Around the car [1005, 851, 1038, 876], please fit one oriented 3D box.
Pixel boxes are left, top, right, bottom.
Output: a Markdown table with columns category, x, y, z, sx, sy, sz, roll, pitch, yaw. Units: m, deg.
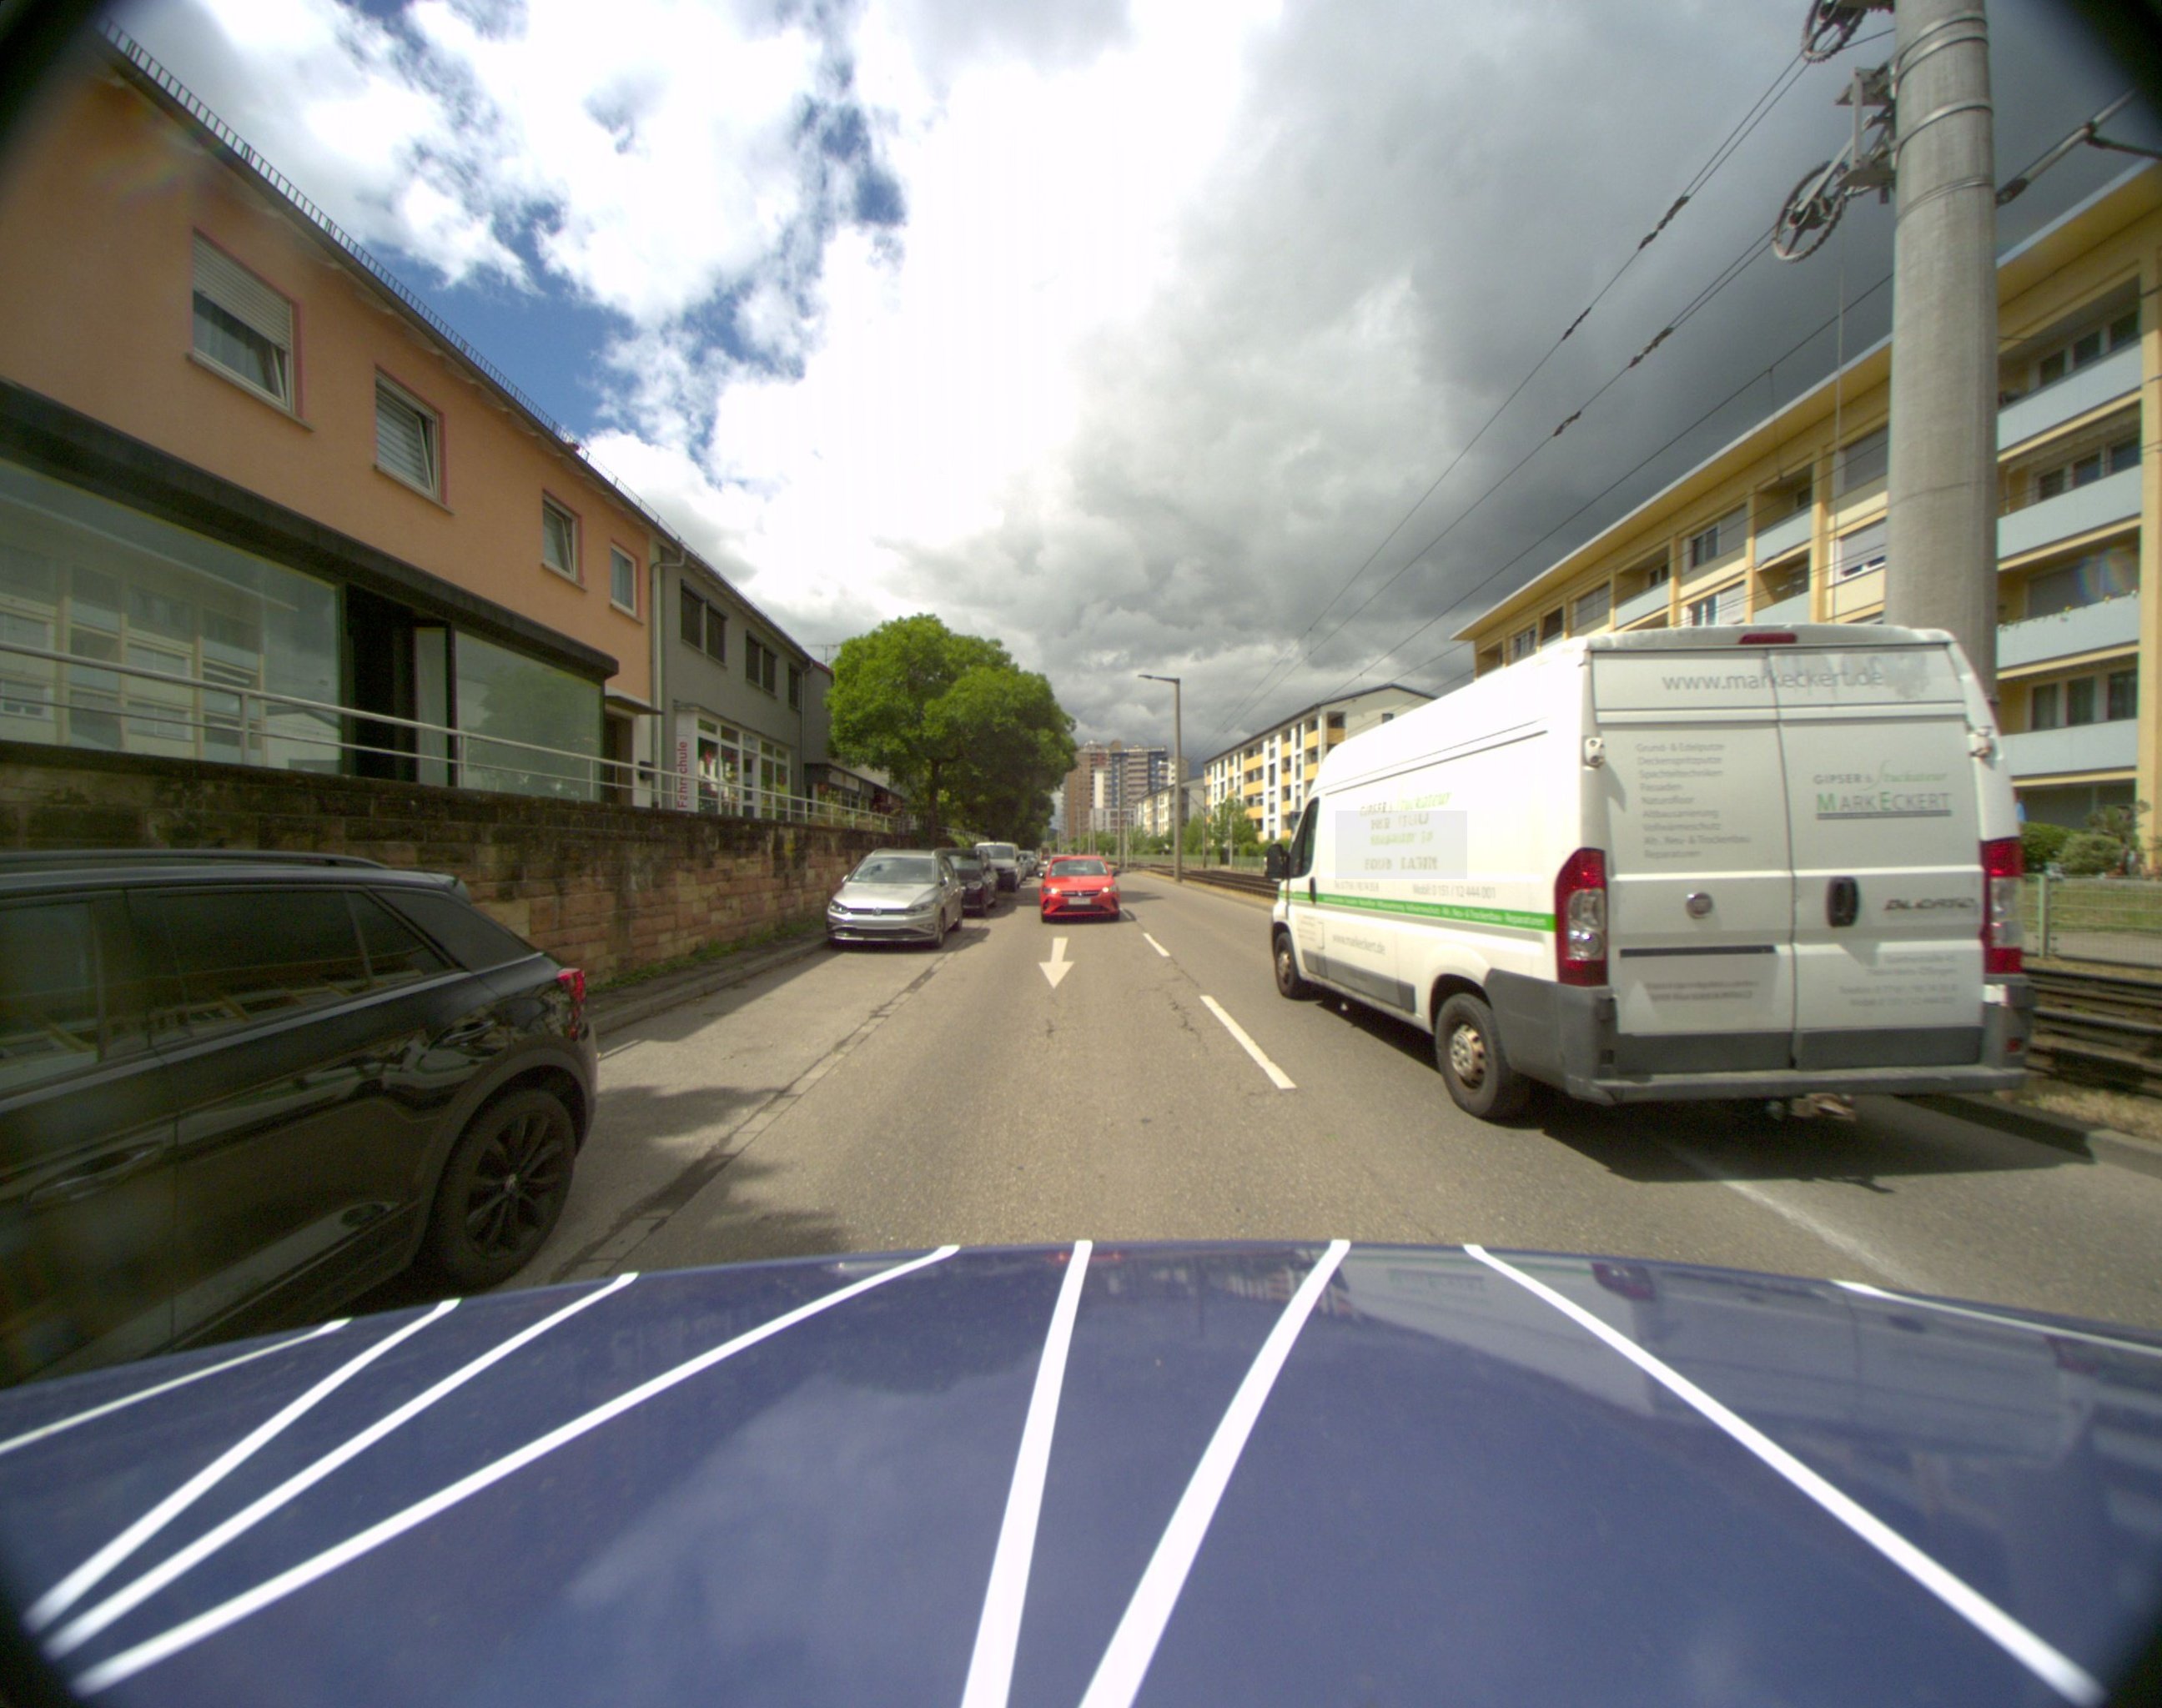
| category | x | y | z | sx | sy | sz | roll | pitch | yaw |
| --- | --- | --- | --- | --- | --- | --- | --- | --- | --- |
| car | -3.846 | 0.601 | 49.478 | 1.854 | 1.508 | 4.810 | 0 | 1 | -1 |

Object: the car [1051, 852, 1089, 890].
| category | x | y | z | sx | sy | sz | roll | pitch | yaw |
| --- | --- | --- | --- | --- | --- | --- | --- | --- | --- |
| car | -0.467 | 0.672 | 32.341 | 1.499 | 1.477 | 3.519 | 0 | 1 | -1 |

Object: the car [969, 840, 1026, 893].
| category | x | y | z | sx | sy | sz | roll | pitch | yaw |
| --- | --- | --- | --- | --- | --- | --- | --- | --- | --- |
| car | -3.343 | 0.449 | 31.170 | 1.854 | 1.997 | 4.968 | 0 | 1 | -1 |

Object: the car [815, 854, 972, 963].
| category | x | y | z | sx | sy | sz | roll | pitch | yaw |
| --- | --- | --- | --- | --- | --- | --- | --- | --- | --- |
| car | -3.053 | 0.801 | 13.248 | 1.760 | 1.559 | 4.174 | 1 | 0 | -1 |

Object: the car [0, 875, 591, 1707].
| category | x | y | z | sx | sy | sz | roll | pitch | yaw |
| --- | --- | --- | --- | --- | --- | --- | --- | --- | --- |
| car | -2.925 | 0.904 | 1.182 | 1.760 | 1.570 | 4.021 | 0 | 1 | -1 |

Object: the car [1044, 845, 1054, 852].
| category | x | y | z | sx | sy | sz | roll | pitch | yaw |
| --- | --- | --- | --- | --- | --- | --- | --- | --- | --- |
| car | -8.301 | -1.448 | 198.701 | 2.441 | 1.717 | 5.482 | 0 | 1 | -1 |

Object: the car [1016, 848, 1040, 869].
| category | x | y | z | sx | sy | sz | roll | pitch | yaw |
| --- | --- | --- | --- | --- | --- | --- | --- | --- | --- |
| car | -4.515 | 0.340 | 65.234 | 1.854 | 1.717 | 4.810 | 0 | 1 | -1 |

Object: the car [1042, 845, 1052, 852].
| category | x | y | z | sx | sy | sz | roll | pitch | yaw |
| --- | --- | --- | --- | --- | --- | --- | --- | --- | --- |
| car | -9.681 | -1.564 | 216.664 | 2.441 | 1.717 | 5.482 | 0 | 1 | -1 |

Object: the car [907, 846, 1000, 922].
| category | x | y | z | sx | sy | sz | roll | pitch | yaw |
| --- | --- | --- | --- | --- | --- | --- | --- | --- | --- |
| car | -3.114 | 0.670 | 19.310 | 1.760 | 1.706 | 3.999 | 0 | 1 | -1 |

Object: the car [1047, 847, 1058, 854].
| category | x | y | z | sx | sy | sz | roll | pitch | yaw |
| --- | --- | --- | --- | --- | --- | --- | --- | --- | --- |
| car | -6.888 | -0.796 | 184.995 | 2.441 | 1.717 | 5.482 | 0 | 1 | -1 |

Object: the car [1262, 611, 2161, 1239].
| category | x | y | z | sx | sy | sz | roll | pitch | yaw |
| --- | --- | --- | --- | --- | --- | --- | --- | --- | --- |
| car | 3.092 | 0.262 | 5.537 | 2.237 | 2.460 | 5.085 | 0 | 1 | -1 |

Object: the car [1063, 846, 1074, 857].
| category | x | y | z | sx | sy | sz | roll | pitch | yaw |
| --- | --- | --- | --- | --- | --- | --- | --- | --- | --- |
| car | -2.597 | -0.525 | 157.541 | 2.237 | 2.051 | 4.360 | 0 | 1 | -1 |

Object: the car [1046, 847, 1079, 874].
| category | x | y | z | sx | sy | sz | roll | pitch | yaw |
| --- | --- | --- | --- | --- | --- | --- | --- | --- | --- |
| car | -0.970 | 0.344 | 41.828 | 1.639 | 1.346 | 3.999 | -2 | 1 | 0 |

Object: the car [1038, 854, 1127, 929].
| category | x | y | z | sx | sy | sz | roll | pitch | yaw |
| --- | --- | --- | --- | --- | --- | --- | --- | --- | --- |
| car | -0.007 | 0.774 | 17.674 | 1.783 | 1.434 | 4.130 | -2 | 1 | -1 |

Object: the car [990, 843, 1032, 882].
| category | x | y | z | sx | sy | sz | roll | pitch | yaw |
| --- | --- | --- | --- | --- | --- | --- | --- | --- | --- |
| car | -3.662 | 0.387 | 40.540 | 1.854 | 1.926 | 4.968 | 0 | 1 | -1 |
